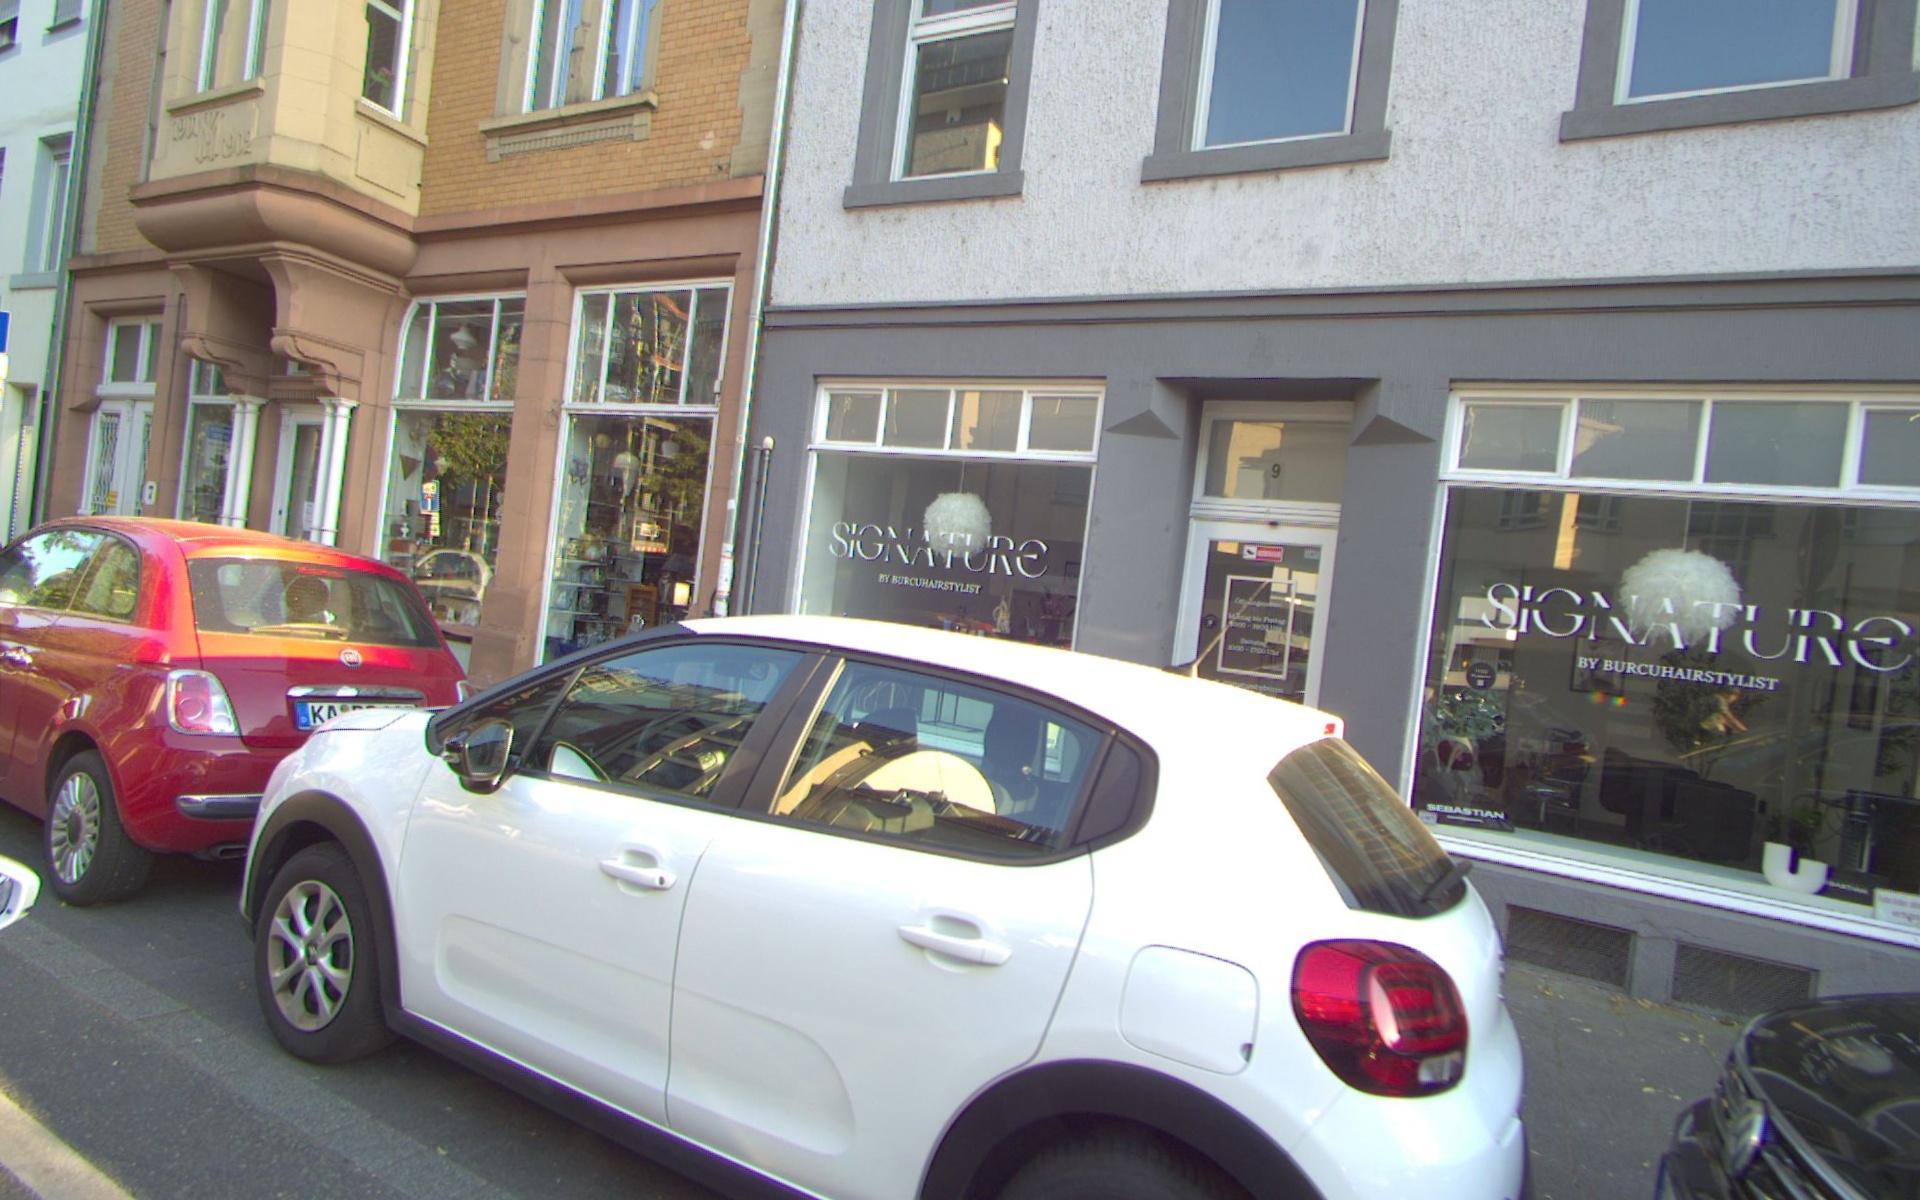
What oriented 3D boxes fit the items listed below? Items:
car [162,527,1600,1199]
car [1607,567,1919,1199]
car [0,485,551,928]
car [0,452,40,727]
[{"bbox_3d":[-0.429,0.716,3.041,3.737,1.394,1.671,6,-2,28],"label":"car"},{"bbox_3d":[3.186,1.075,0.895,4.133,1.687,1.817,6,-2,28],"label":"car"},{"bbox_3d":[-3.856,0.327,5.014,3.211,1.501,1.591,6,-2,30],"label":"car"},{"bbox_3d":[-8.263,-0.343,6.462,4.290,1.714,1.831,6,-2,25],"label":"car"}]
